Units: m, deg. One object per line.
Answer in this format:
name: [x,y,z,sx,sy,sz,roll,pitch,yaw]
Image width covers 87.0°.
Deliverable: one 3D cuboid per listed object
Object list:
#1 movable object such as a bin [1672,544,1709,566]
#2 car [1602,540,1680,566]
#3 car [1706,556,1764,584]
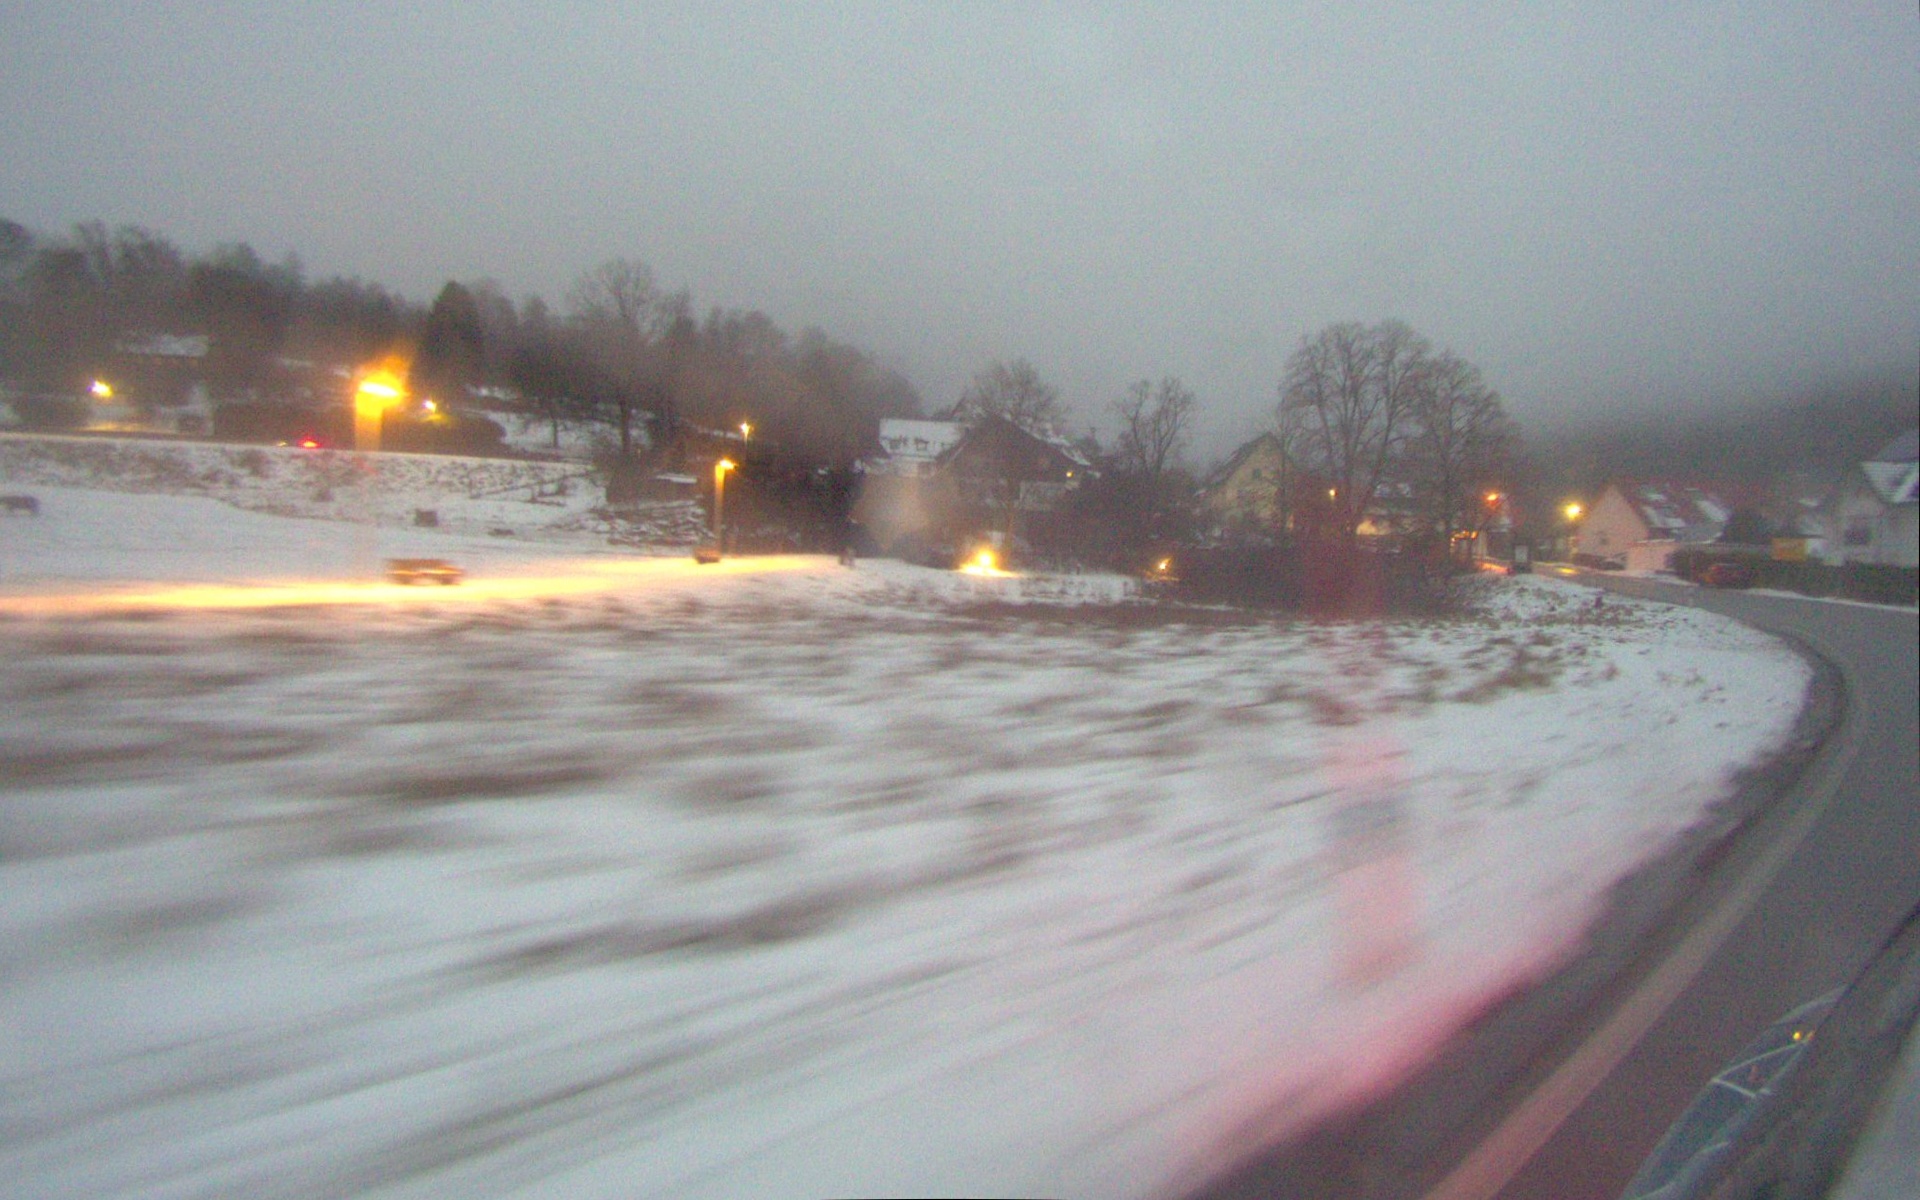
movable object such as a bin: [58.115,-3.574,80.549,2.358,1.668,1.422,0,3,38]
car: [61.310,-4.234,91.180,5.200,2.036,2.209,3,7,14]
car: [48.813,-1.919,63.793,1.701,1.552,3.499,3,4,17]
